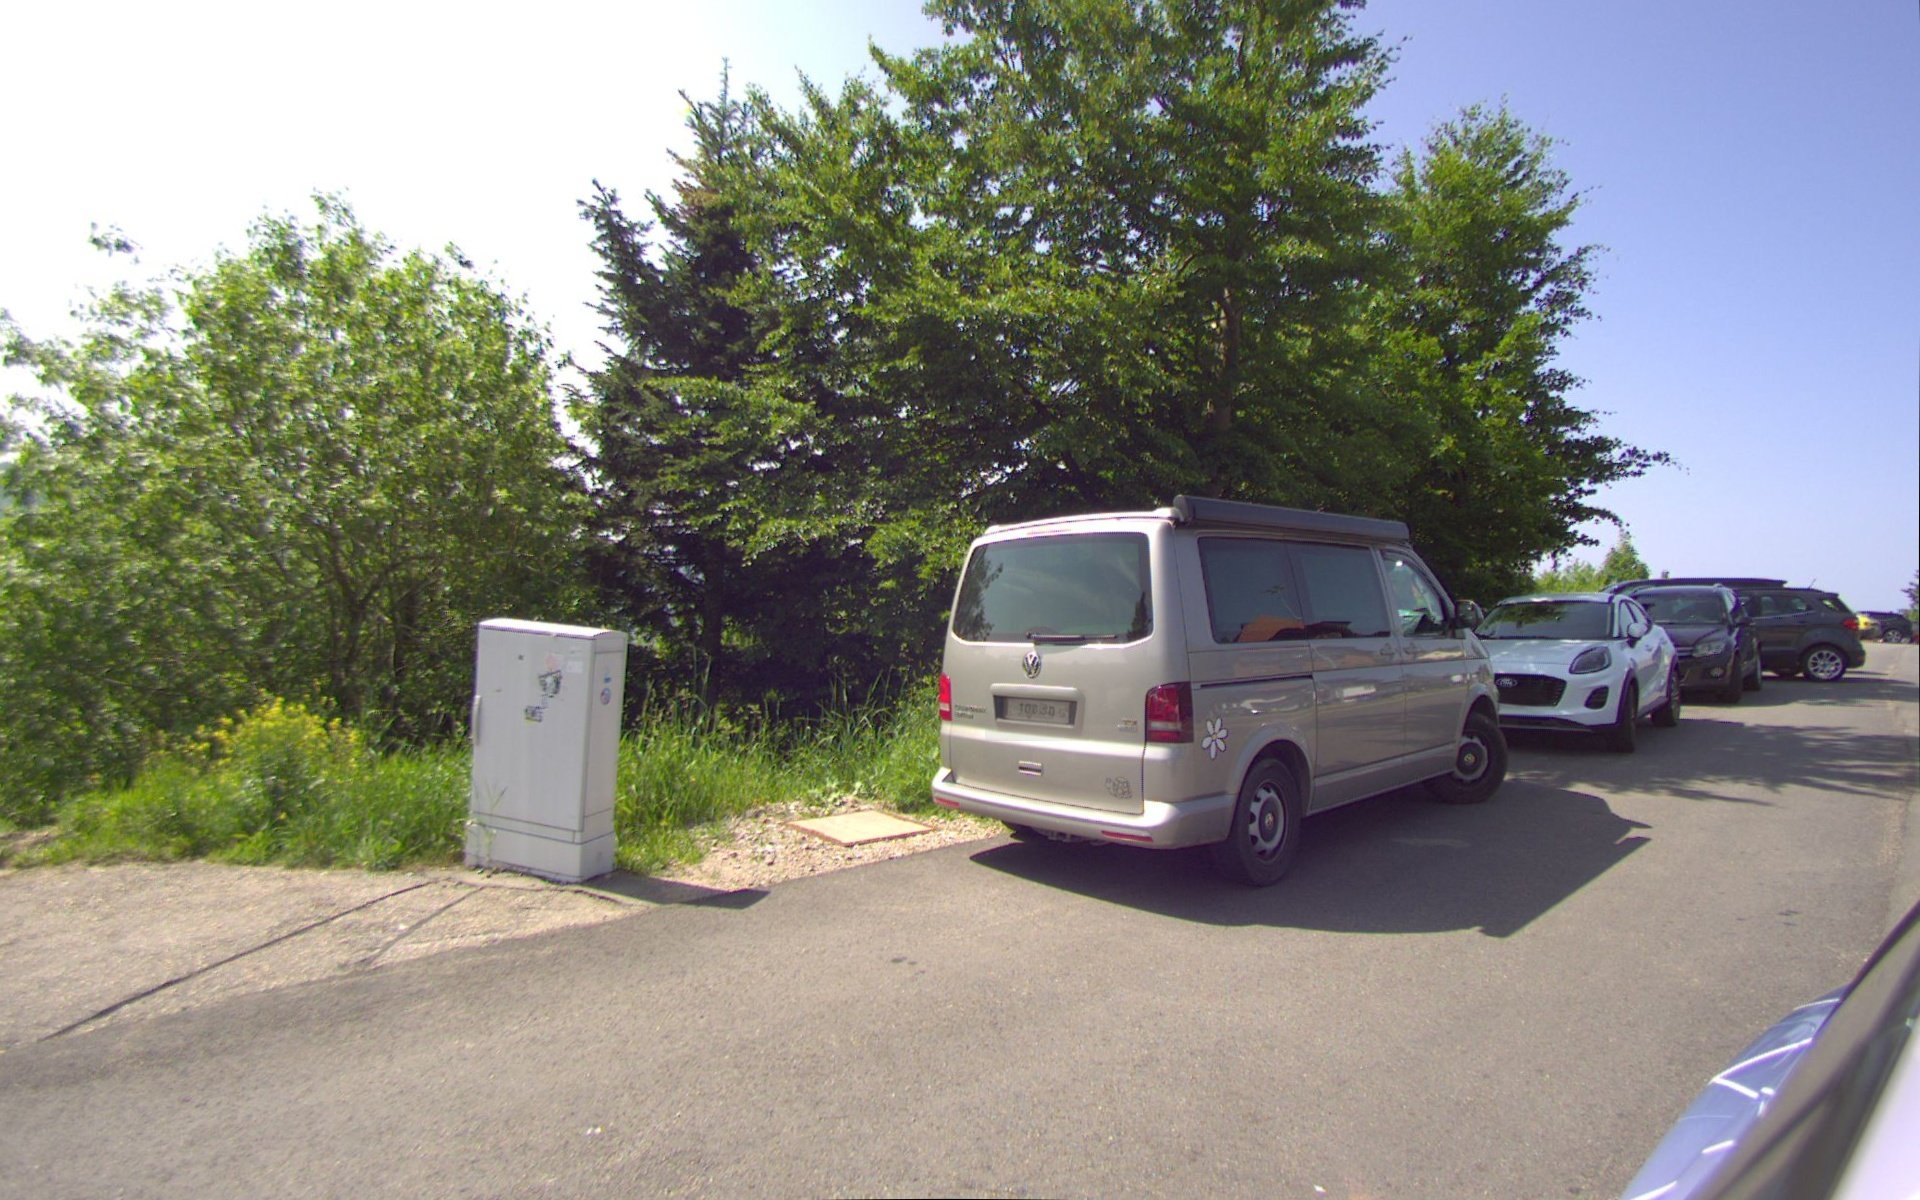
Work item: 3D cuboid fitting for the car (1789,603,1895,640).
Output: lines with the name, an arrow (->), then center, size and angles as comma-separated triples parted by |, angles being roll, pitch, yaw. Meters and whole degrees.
car -> 45.478, 1.085, 52.222 | 1.844, 1.634, 3.906 | 0, 3, -43

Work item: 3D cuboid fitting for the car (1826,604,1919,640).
car -> 50.013, 1.168, 55.247 | 1.844, 1.634, 3.906 | 0, 3, -43

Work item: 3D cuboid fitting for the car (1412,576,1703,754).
car -> 6.584, 0.576, 10.965 | 1.870, 1.567, 3.937 | -1, -1, 44

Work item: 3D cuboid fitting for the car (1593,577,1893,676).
car -> 14.018, 0.453, 18.446 | 3.958, 1.639, 1.860 | -1, -1, 26

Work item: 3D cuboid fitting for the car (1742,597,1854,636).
car -> 40.498, 0.759, 48.971 | 1.844, 1.634, 3.906 | 0, 3, -43

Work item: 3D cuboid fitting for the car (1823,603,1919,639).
car -> 48.233, 1.063, 53.397 | 1.844, 1.634, 3.906 | 0, 3, -43

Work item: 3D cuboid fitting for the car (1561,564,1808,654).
car -> 16.841, 0.211, 23.830 | 4.414, 1.950, 1.860 | -1, -1, 26

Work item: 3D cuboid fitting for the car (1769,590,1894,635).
car -> 43.115, 0.576, 50.121 | 1.845, 1.949, 4.453 | 0, 3, -43

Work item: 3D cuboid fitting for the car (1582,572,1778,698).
car -> 10.948, 0.460, 15.293 | 1.870, 1.639, 3.937 | -1, -1, 44

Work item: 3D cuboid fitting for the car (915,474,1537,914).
car -> 2.027, 0.434, 6.745 | 4.530, 1.960, 1.859 | 0, -1, -43

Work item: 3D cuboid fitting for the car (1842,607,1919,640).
car -> 53.096, 1.312, 57.791 | 1.844, 1.634, 3.906 | 0, 3, -43
